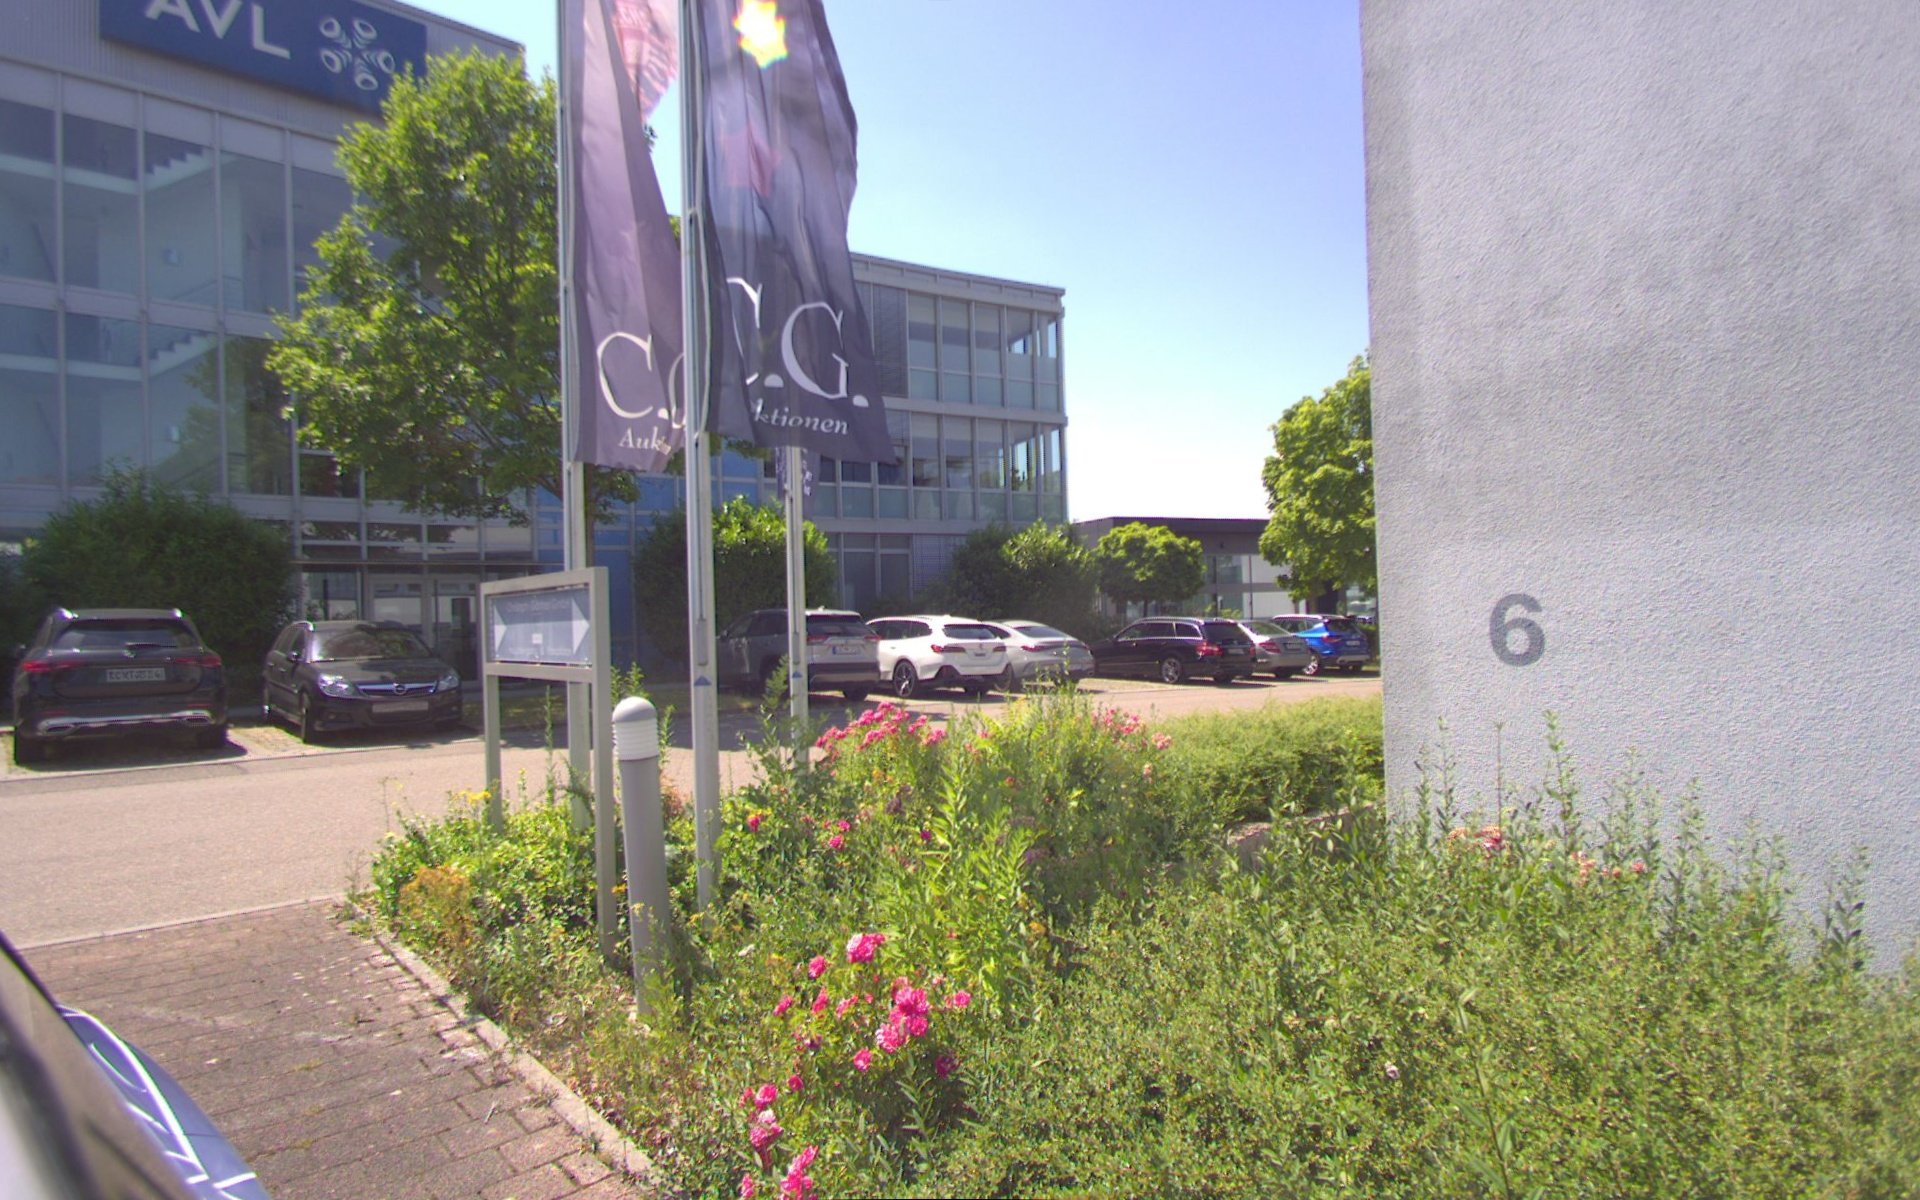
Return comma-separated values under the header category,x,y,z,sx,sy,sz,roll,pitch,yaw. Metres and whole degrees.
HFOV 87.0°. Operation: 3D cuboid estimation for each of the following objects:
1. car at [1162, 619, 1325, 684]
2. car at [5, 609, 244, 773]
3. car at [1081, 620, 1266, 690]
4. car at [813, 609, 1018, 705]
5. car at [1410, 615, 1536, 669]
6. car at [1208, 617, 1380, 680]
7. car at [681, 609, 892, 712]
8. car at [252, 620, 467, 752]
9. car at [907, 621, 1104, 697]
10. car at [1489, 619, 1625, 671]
category,x,y,z,sx,sy,sz,roll,pitch,yaw
car,6.928,1.204,25.215,1.722,1.435,4.185,0,-1,-22
car,-10.011,0.932,12.021,1.911,1.615,3.863,1,-2,-43
car,4.845,1.195,23.477,1.723,1.435,4.182,1,-1,-34
car,-0.969,1.024,19.624,1.805,1.650,4.178,1,-2,-40
car,14.898,1.178,29.538,1.522,1.435,3.009,0,0,-23
car,8.696,1.199,26.683,1.723,1.435,4.183,0,0,-32
car,-3.237,1.011,18.291,1.805,1.650,4.176,1,-2,-42
car,-8.299,1.036,13.797,1.704,1.495,4.402,0,-1,-42
car,0.845,1.159,21.145,1.725,1.411,4.178,1,-2,-40
car,17.430,1.285,29.667,1.522,1.435,3.099,0,-1,-23
